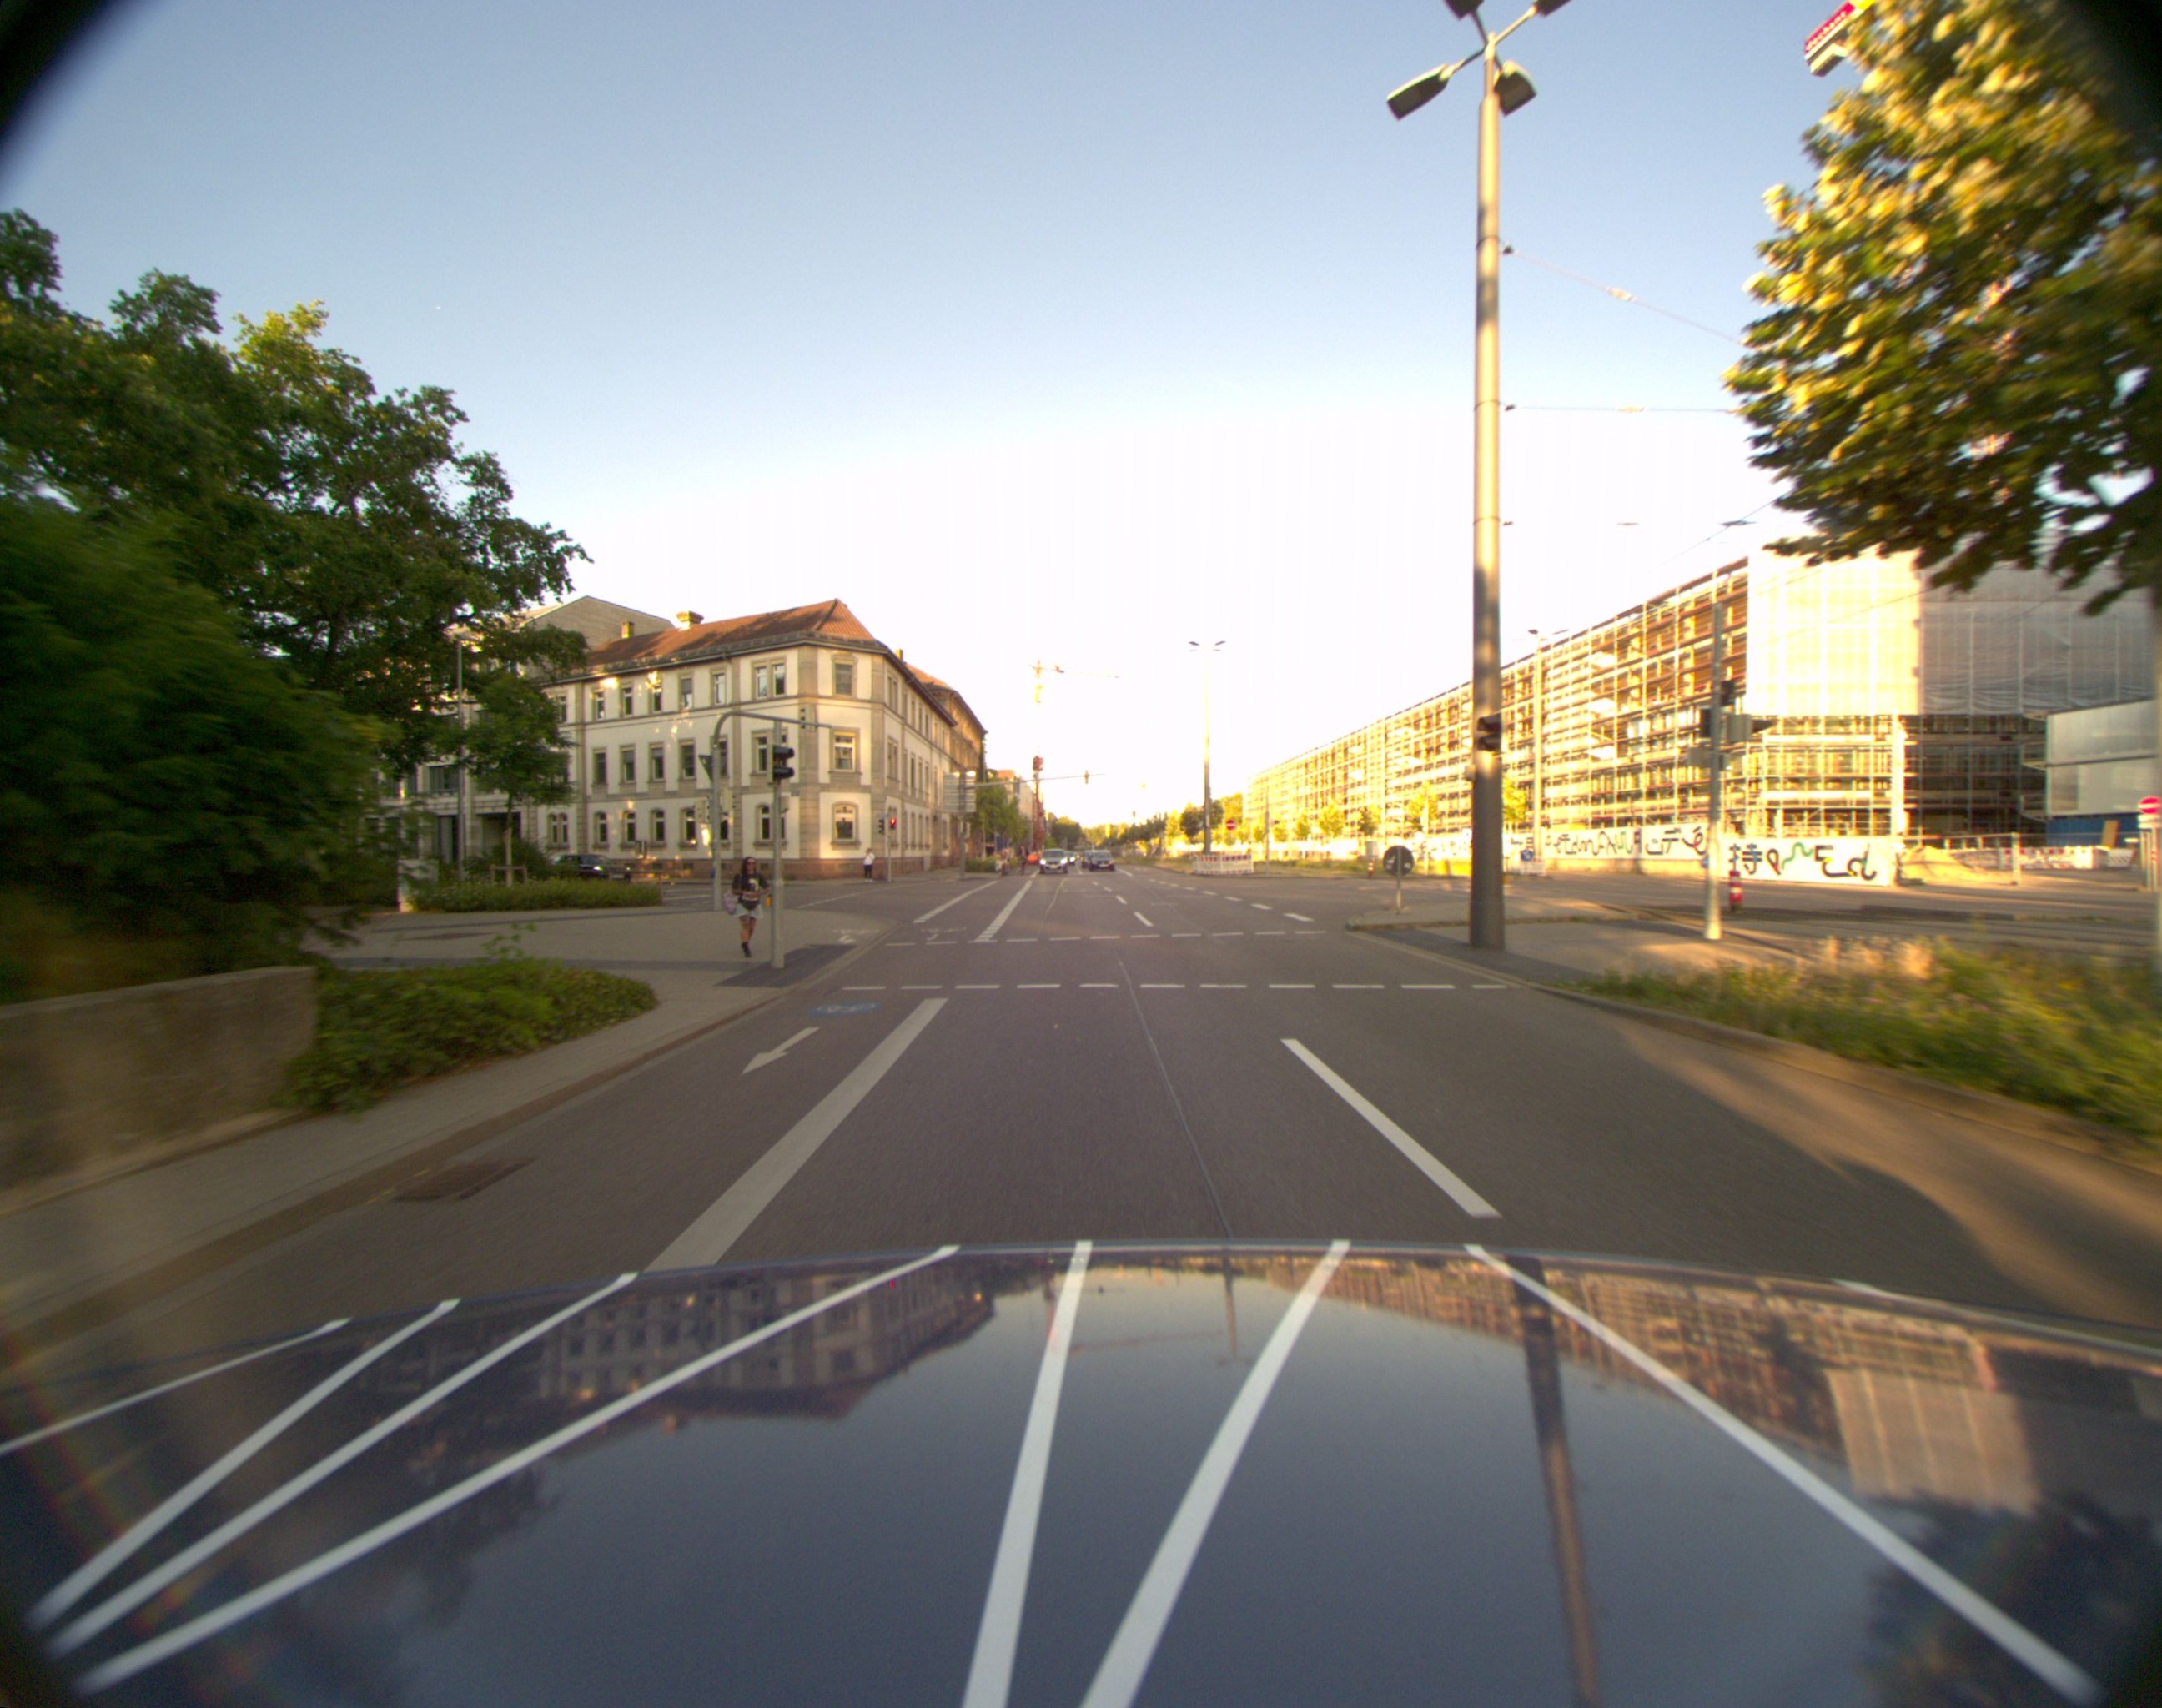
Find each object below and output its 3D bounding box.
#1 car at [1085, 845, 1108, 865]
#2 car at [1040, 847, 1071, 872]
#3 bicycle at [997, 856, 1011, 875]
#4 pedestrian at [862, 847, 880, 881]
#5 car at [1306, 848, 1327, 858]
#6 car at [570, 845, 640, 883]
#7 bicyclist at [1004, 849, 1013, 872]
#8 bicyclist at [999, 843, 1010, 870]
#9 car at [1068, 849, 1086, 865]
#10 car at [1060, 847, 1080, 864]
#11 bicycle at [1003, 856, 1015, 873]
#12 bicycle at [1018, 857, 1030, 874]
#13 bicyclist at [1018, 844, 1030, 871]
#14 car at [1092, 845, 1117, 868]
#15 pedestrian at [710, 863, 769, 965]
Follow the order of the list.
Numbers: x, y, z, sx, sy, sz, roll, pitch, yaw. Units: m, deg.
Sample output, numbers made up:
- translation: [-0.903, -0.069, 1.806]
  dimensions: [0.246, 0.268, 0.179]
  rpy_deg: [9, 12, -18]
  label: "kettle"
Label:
- translation: [1.261, 0.094, 63.494]
  dimensions: [1.861, 1.588, 4.259]
  rpy_deg: [-1, 1, 1]
  label: "car"
- translation: [-1.654, 0.336, 51.020]
  dimensions: [1.833, 1.588, 4.259]
  rpy_deg: [-1, 1, 1]
  label: "car"
- translation: [-4.906, 0.728, 48.606]
  dimensions: [0.528, 1.045, 2.047]
  rpy_deg: [3, 2, 3]
  label: "bicycle"
- translation: [-10.400, 0.499, 37.672]
  dimensions: [0.819, 1.647, 0.635]
  rpy_deg: [0, 1, -20]
  label: "pedestrian"
- translation: [34.537, -0.126, 111.447]
  dimensions: [1.668, 1.447, 4.068]
  rpy_deg: [1, 1, 0]
  label: "car"
- translation: [-20.763, 0.481, 33.070]
  dimensions: [1.834, 1.507, 3.566]
  rpy_deg: [5, -5, -43]
  label: "car"
- translation: [-4.819, 0.422, 50.432]
  dimensions: [0.512, 1.540, 0.692]
  rpy_deg: [1, 1, 2]
  label: "bicyclist"
- translation: [-4.885, 0.171, 48.558]
  dimensions: [0.510, 1.692, 0.768]
  rpy_deg: [2, 3, 3]
  label: "bicyclist"
- translation: [-0.392, 0.295, 77.319]
  dimensions: [1.702, 1.588, 3.889]
  rpy_deg: [-1, 1, 1]
  label: "car"
- translation: [-1.075, 0.093, 77.480]
  dimensions: [1.879, 1.652, 3.761]
  rpy_deg: [-1, 1, 1]
  label: "car"
- translation: [-4.812, 0.697, 50.727]
  dimensions: [0.517, 1.045, 2.044]
  rpy_deg: [1, 1, 2]
  label: "bicycle"
- translation: [-3.617, 0.720, 48.500]
  dimensions: [0.721, 1.045, 2.042]
  rpy_deg: [-2, 1, -4]
  label: "bicycle"
- translation: [-3.641, 0.206, 48.608]
  dimensions: [0.705, 1.692, 0.767]
  rpy_deg: [-3, 3, -4]
  label: "bicyclist"
- translation: [1.624, 0.137, 54.723]
  dimensions: [1.702, 1.588, 4.259]
  rpy_deg: [-1, 1, 1]
  label: "car"
- translation: [-5.216, 0.898, 11.624]
  dimensions: [0.580, 1.495, 0.619]
  rpy_deg: [0, 1, 6]
  label: "pedestrian"
